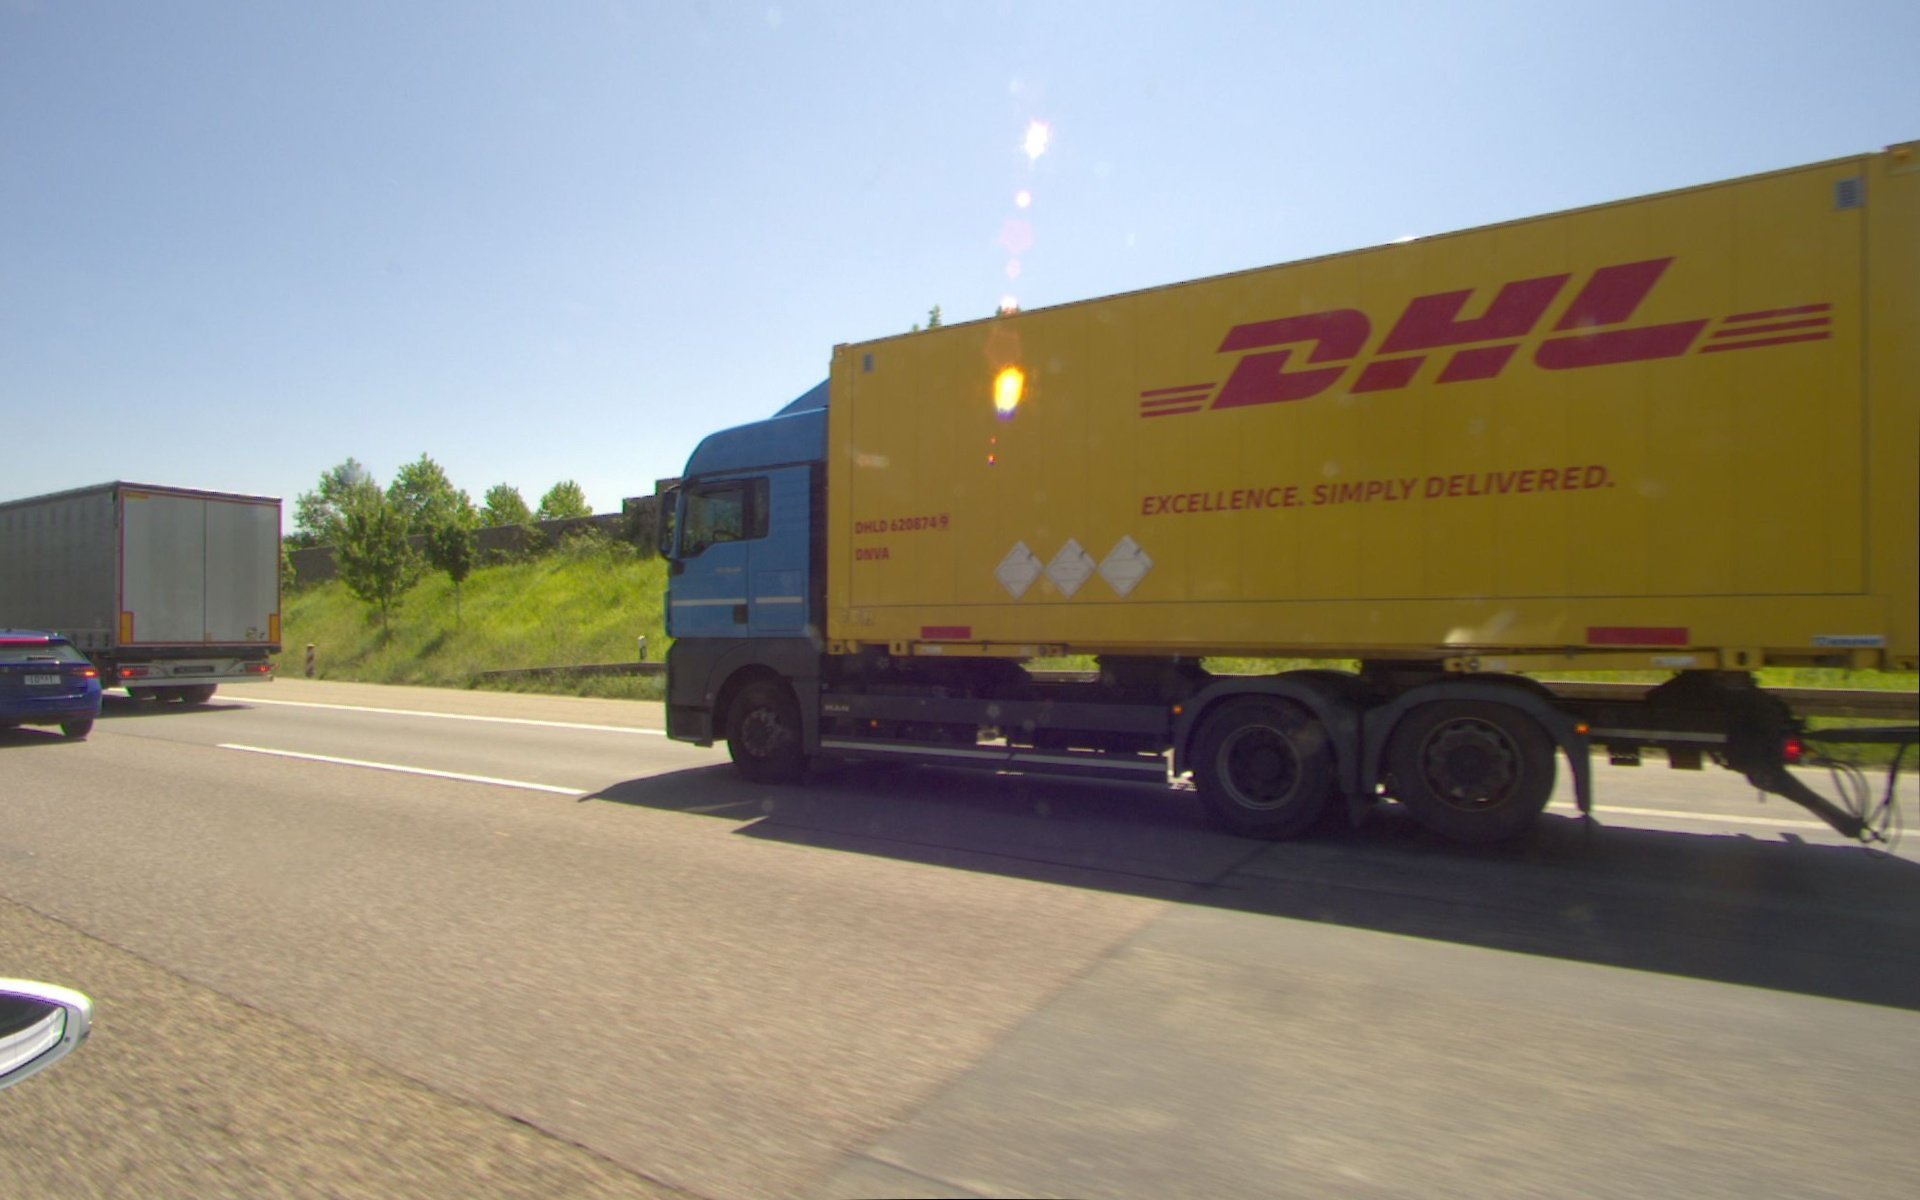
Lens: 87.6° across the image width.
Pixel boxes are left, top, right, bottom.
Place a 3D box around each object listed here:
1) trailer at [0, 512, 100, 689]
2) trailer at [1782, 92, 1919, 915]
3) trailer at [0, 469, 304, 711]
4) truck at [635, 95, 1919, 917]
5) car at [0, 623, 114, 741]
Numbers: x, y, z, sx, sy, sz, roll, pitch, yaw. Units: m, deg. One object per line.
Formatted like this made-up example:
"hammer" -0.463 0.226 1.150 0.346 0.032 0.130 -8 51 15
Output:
"trailer" -24.739 0.056 25.241 6.318 4.096 2.919 -1 -1 32
"trailer" 9.345 -0.490 3.852 9.242 4.170 2.761 0 -2 32
"trailer" -19.277 -0.025 21.830 13.554 4.101 2.957 -1 -1 32
"truck" 1.573 -0.398 8.778 9.809 4.162 2.761 0 -2 32
"car" -13.577 1.084 13.795 4.365 1.459 1.703 -2 -3 32
